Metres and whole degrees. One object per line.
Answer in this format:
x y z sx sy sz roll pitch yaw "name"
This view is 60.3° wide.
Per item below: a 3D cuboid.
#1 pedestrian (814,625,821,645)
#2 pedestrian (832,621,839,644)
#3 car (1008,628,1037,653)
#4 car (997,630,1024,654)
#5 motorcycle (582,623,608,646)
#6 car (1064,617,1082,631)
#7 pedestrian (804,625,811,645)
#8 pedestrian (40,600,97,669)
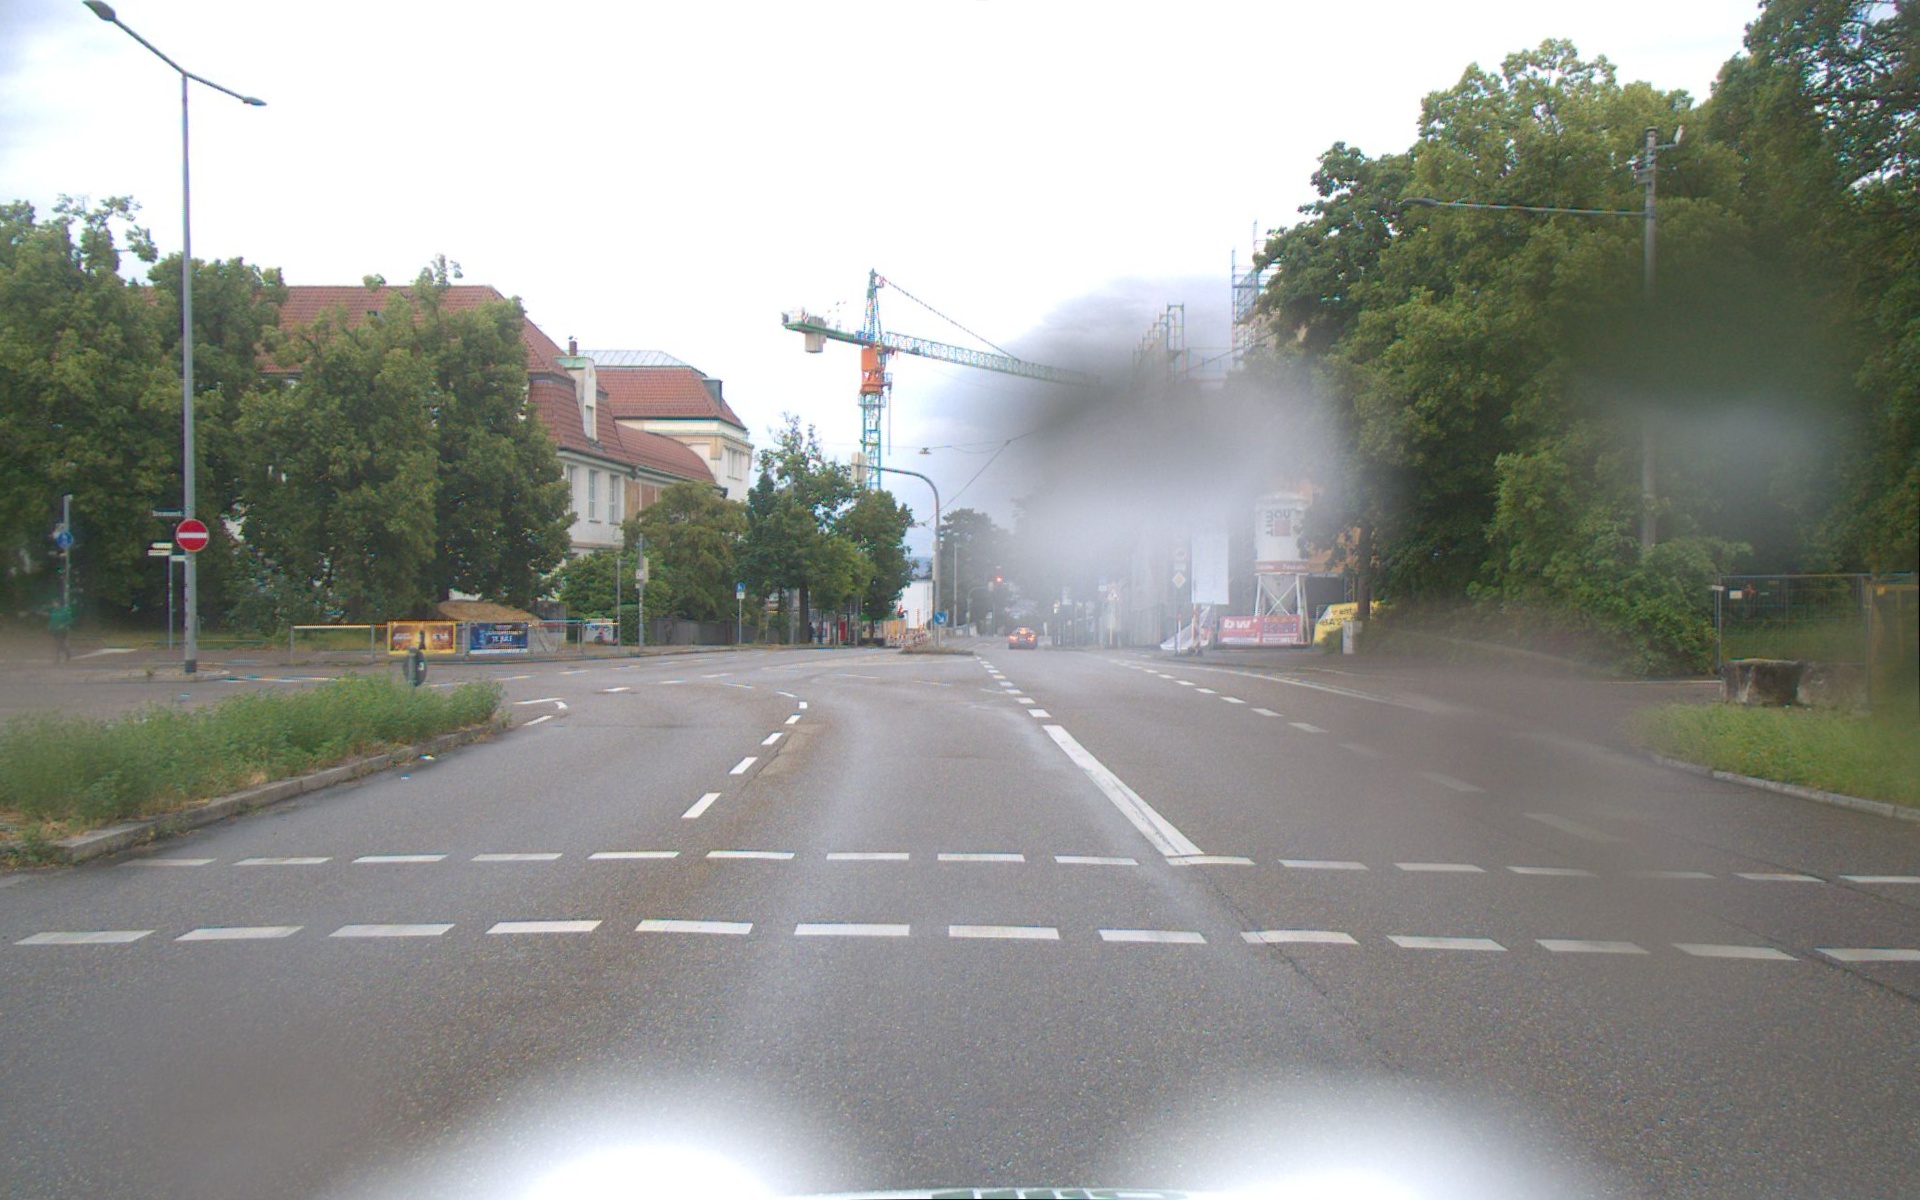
-10.078 2.472 116.707 0.465 1.421 0.411 0 0 -1 "pedestrian"
-9.072 2.345 120.773 0.484 1.674 0.533 1 -1 -7 "pedestrian"
4.687 3.065 124.783 1.953 1.780 3.999 -1 0 -1 "car"
4.043 3.319 131.989 1.953 1.780 3.999 -1 0 -1 "car"
-14.266 1.345 64.651 0.832 0.893 0.877 1 0 -1 "motorcycle"
15.040 3.114 219.493 1.951 1.780 4.003 -1 0 10 "car"
-10.727 2.479 116.624 0.465 1.421 0.411 -1 0 -1 "pedestrian"
-23.242 0.897 43.123 0.903 1.757 0.946 1 0 5 "pedestrian"
